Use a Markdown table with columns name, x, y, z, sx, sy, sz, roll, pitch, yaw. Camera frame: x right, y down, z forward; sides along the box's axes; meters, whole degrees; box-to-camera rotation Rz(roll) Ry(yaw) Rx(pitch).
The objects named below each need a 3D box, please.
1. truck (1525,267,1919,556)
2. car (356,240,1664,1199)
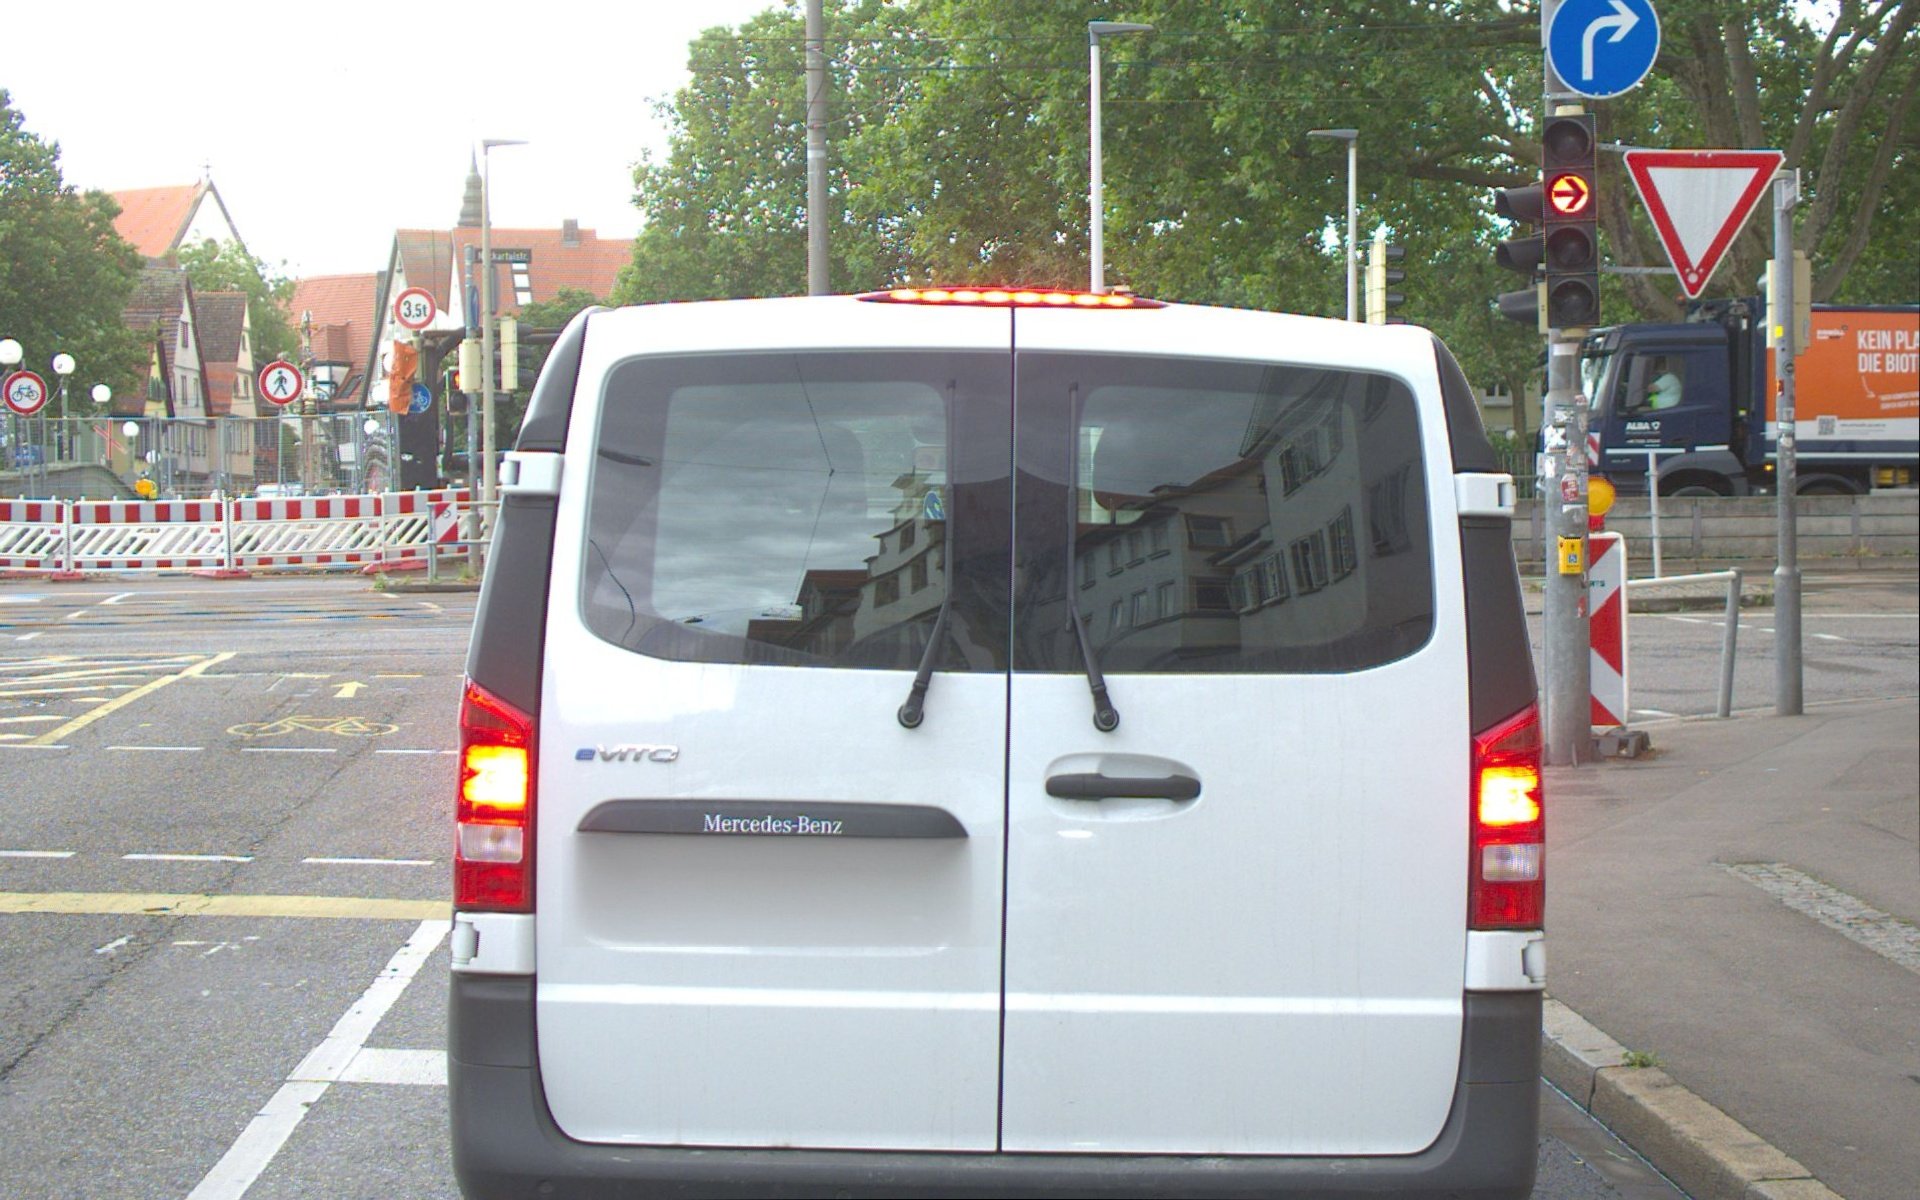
| name | x | y | z | sx | sy | sz | roll | pitch | yaw |
| --- | --- | --- | --- | --- | --- | --- | --- | --- | --- |
| truck | 12.791 | -2.464 | 45.818 | 10.182 | 3.683 | 2.272 | 0 | 1 | -8 |
| car | -0.033 | 0.318 | 7.404 | 1.993 | 1.916 | 4.250 | 1 | 3 | -3 |
